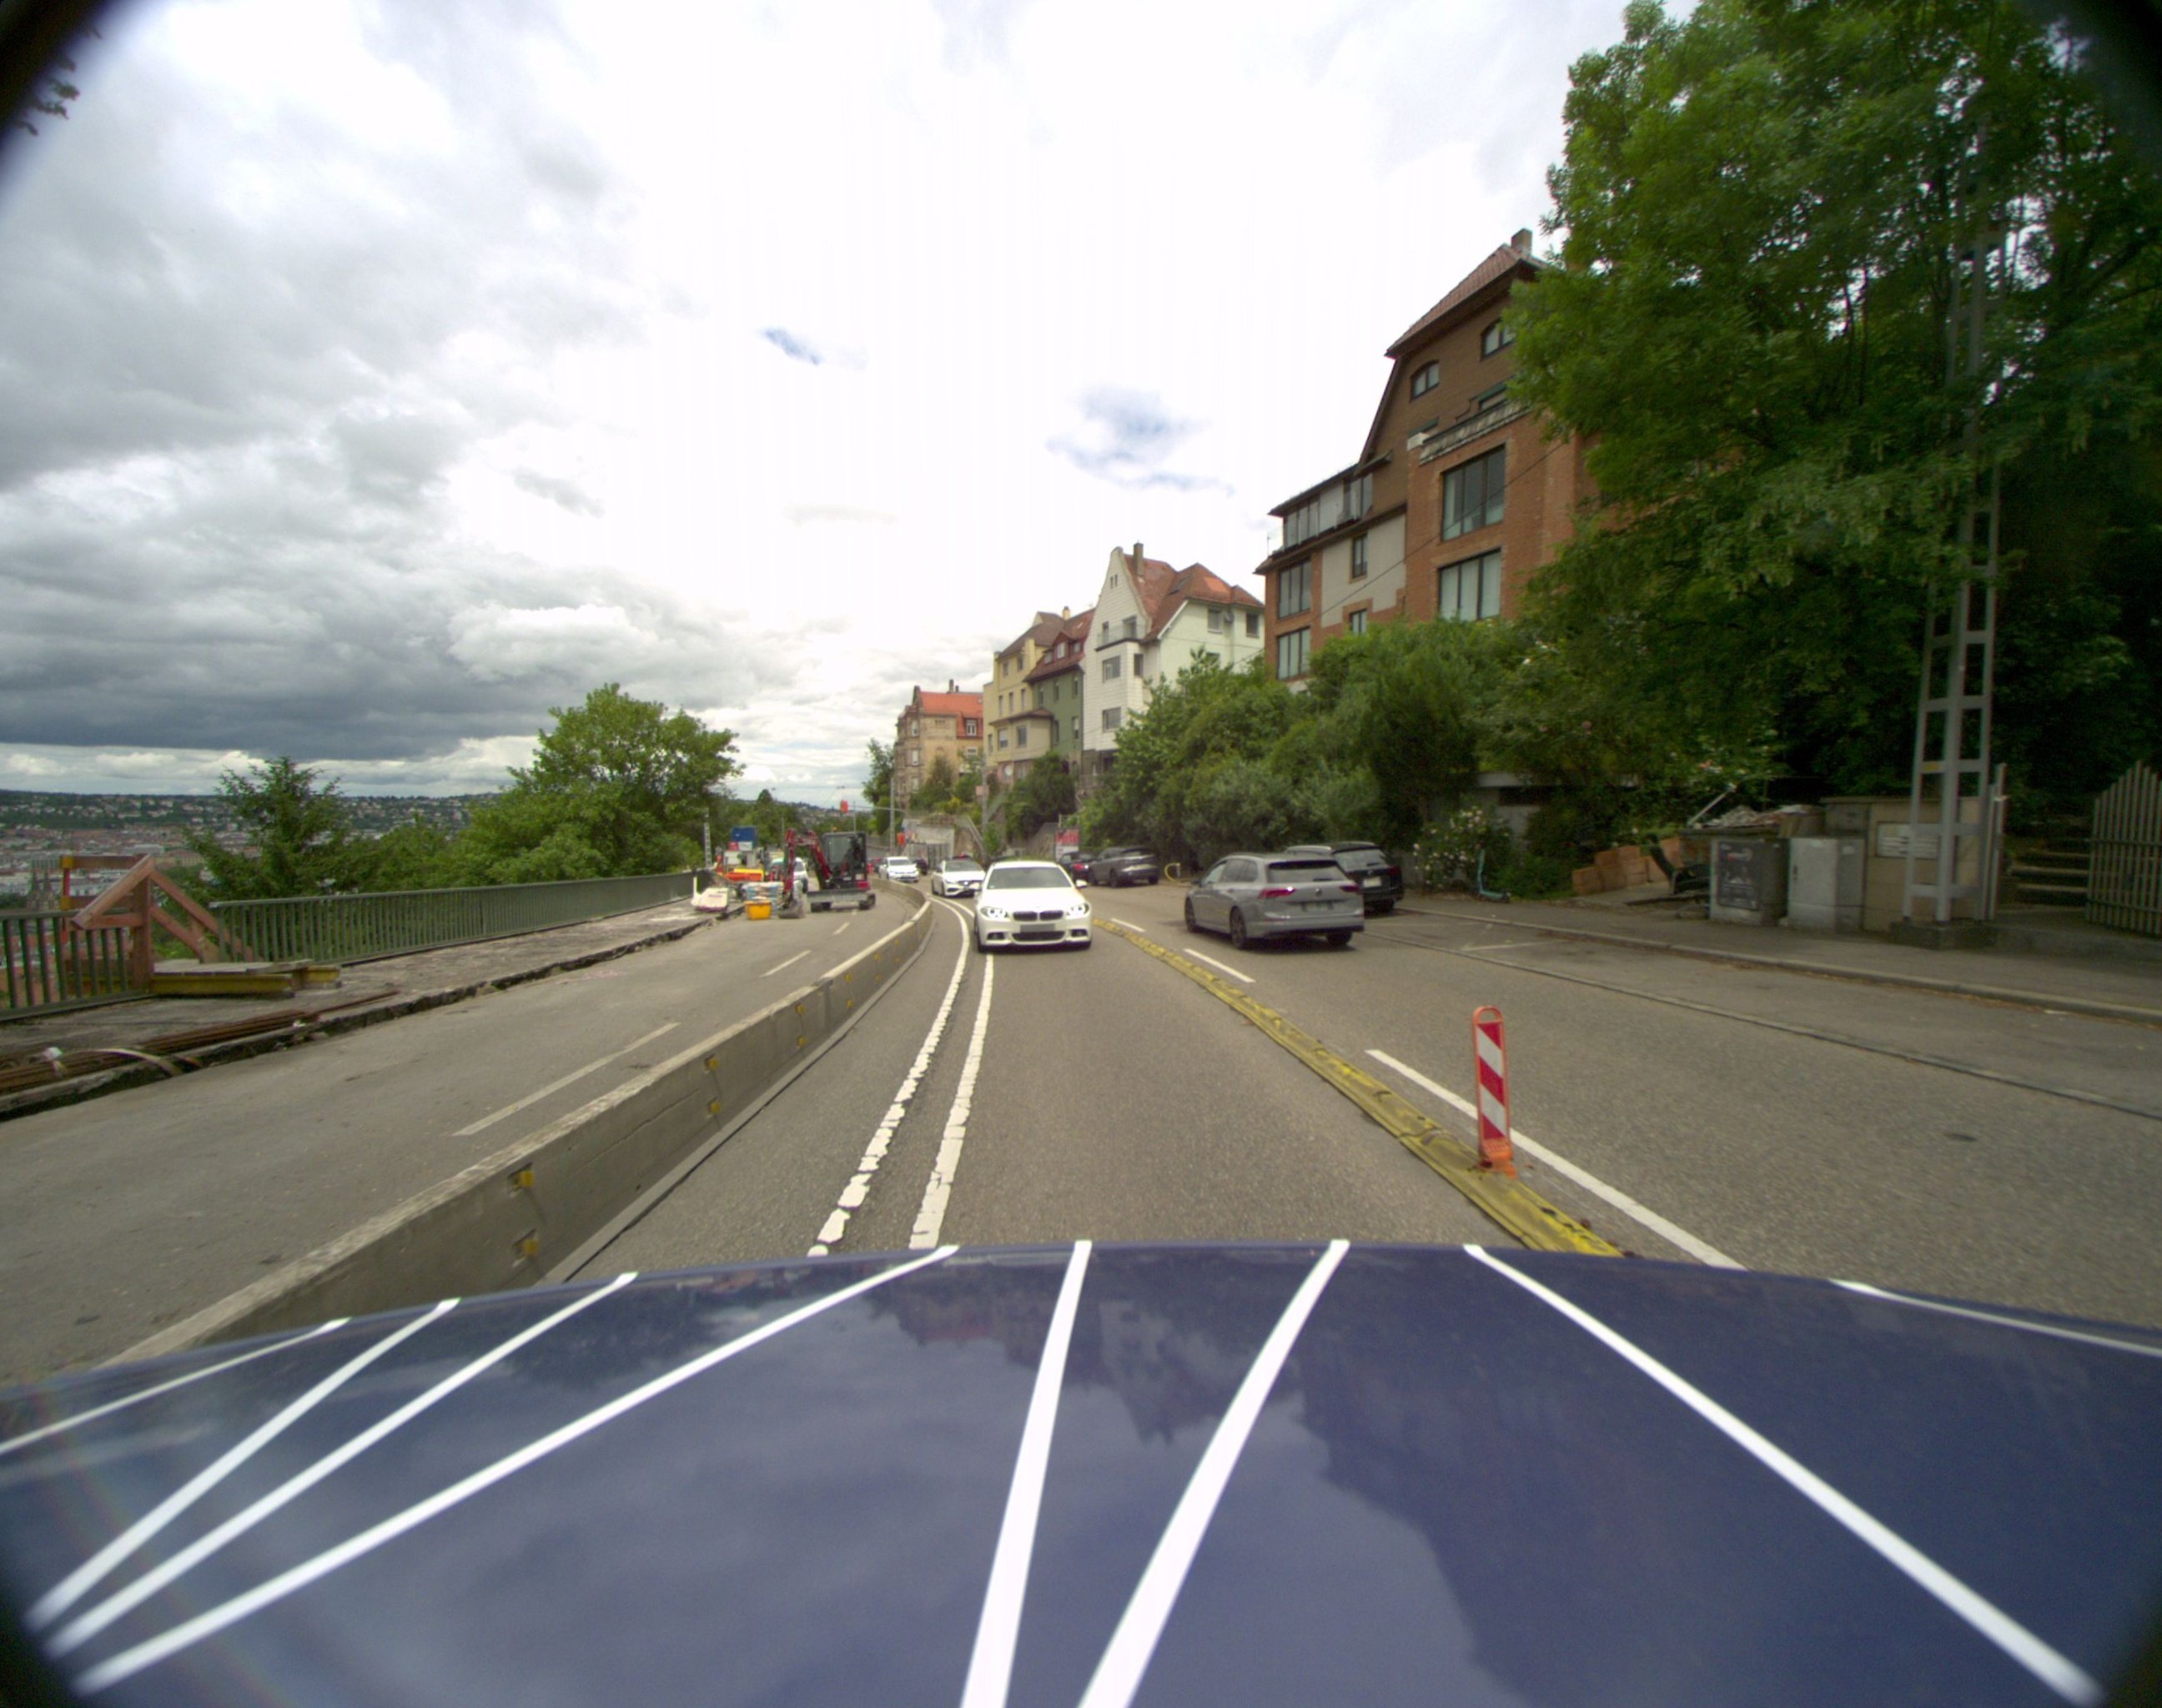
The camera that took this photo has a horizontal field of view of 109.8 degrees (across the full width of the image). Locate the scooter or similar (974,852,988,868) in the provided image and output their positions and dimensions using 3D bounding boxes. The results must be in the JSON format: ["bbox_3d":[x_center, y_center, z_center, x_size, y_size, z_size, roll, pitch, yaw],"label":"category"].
[{"bbox_3d":[-7.764,0.453,58.897,0.461,1.198,1.432,-5,2,-29],"label":"scooter or similar"}]

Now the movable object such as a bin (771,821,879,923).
[{"bbox_3d":[-7.524,0.474,22.861,2.219,2.647,4.940,-2,1,-10],"label":"movable object such as a bin"}]

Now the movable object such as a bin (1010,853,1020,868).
[{"bbox_3d":[-4.709,0.447,54.066,0.470,1.048,0.623,-4,2,-27],"label":"movable object such as a bin"}]

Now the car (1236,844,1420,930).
[{"bbox_3d":[5.081,0.591,16.417,1.741,1.443,4.679,-5,1,-9],"label":"car"}]

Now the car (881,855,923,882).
[{"bbox_3d":[-10.897,0.867,46.069,1.795,1.542,4.237,-1,0,-23],"label":"car"}]

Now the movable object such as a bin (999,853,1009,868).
[{"bbox_3d":[-5.447,0.468,53.654,0.470,1.048,0.623,-4,2,-27],"label":"movable object such as a bin"}]

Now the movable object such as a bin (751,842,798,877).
[{"bbox_3d":[-29.196,0.491,72.111,2.825,3.053,7.804,-3,1,-31],"label":"movable object such as a bin"}]

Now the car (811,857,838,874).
[{"bbox_3d":[-24.622,1.055,72.924,1.803,1.501,3.990,1,0,-29],"label":"car"}]

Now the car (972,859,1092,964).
[{"bbox_3d":[-0.963,0.885,13.666,1.793,1.472,4.242,-1,1,-6],"label":"car"}]

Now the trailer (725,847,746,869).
[{"bbox_3d":[-41.088,0.433,90.466,2.116,2.535,5.108,0,0,-23],"label":"trailer"}]

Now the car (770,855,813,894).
[{"bbox_3d":[-14.568,0.972,38.094,1.840,1.769,4.260,-2,1,-23],"label":"car"}]

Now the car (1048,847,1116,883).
[{"bbox_3d":[-0.020,0.495,36.311,1.801,1.502,3.992,-5,2,-21],"label":"car"}]

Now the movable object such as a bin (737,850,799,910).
[{"bbox_3d":[-11.140,0.851,27.272,1.708,1.931,4.158,-2,1,-19],"label":"movable object such as a bin"}]

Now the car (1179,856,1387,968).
[{"bbox_3d":[3.044,0.789,12.482,1.773,1.427,4.305,-1,0,-7],"label":"car"}]

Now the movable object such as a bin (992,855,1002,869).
[{"bbox_3d":[-5.897,0.554,53.429,0.470,0.929,0.623,-4,2,-27],"label":"movable object such as a bin"}]

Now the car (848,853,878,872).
[{"bbox_3d":[-17.942,0.682,62.567,1.802,1.501,3.991,1,0,-24],"label":"car"}]

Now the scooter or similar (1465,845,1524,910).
[{"bbox_3d":[8.201,0.444,15.118,0.417,1.225,1.120,-4,2,-6],"label":"scooter or similar"}]

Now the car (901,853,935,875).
[{"bbox_3d":[-12.392,0.726,57.606,1.775,1.559,4.221,-3,1,-23],"label":"car"}]

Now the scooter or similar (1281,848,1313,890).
[{"bbox_3d":[6.477,0.450,22.809,0.350,1.206,1.044,-5,2,-17],"label":"scooter or similar"}]

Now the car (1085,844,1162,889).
[{"bbox_3d":[1.658,0.468,31.260,1.693,1.597,4.179,-4,2,-18],"label":"car"}]

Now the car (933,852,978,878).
[{"bbox_3d":[-7.816,0.672,47.155,1.775,1.509,4.017,-3,1,-24],"label":"car"}]

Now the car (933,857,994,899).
[{"bbox_3d":[-4.724,0.880,29.981,1.794,1.472,4.238,-2,1,-16],"label":"car"}]

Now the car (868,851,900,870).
[{"bbox_3d":[-18.009,0.583,69.338,1.776,1.559,4.220,-3,1,-30],"label":"car"}]
